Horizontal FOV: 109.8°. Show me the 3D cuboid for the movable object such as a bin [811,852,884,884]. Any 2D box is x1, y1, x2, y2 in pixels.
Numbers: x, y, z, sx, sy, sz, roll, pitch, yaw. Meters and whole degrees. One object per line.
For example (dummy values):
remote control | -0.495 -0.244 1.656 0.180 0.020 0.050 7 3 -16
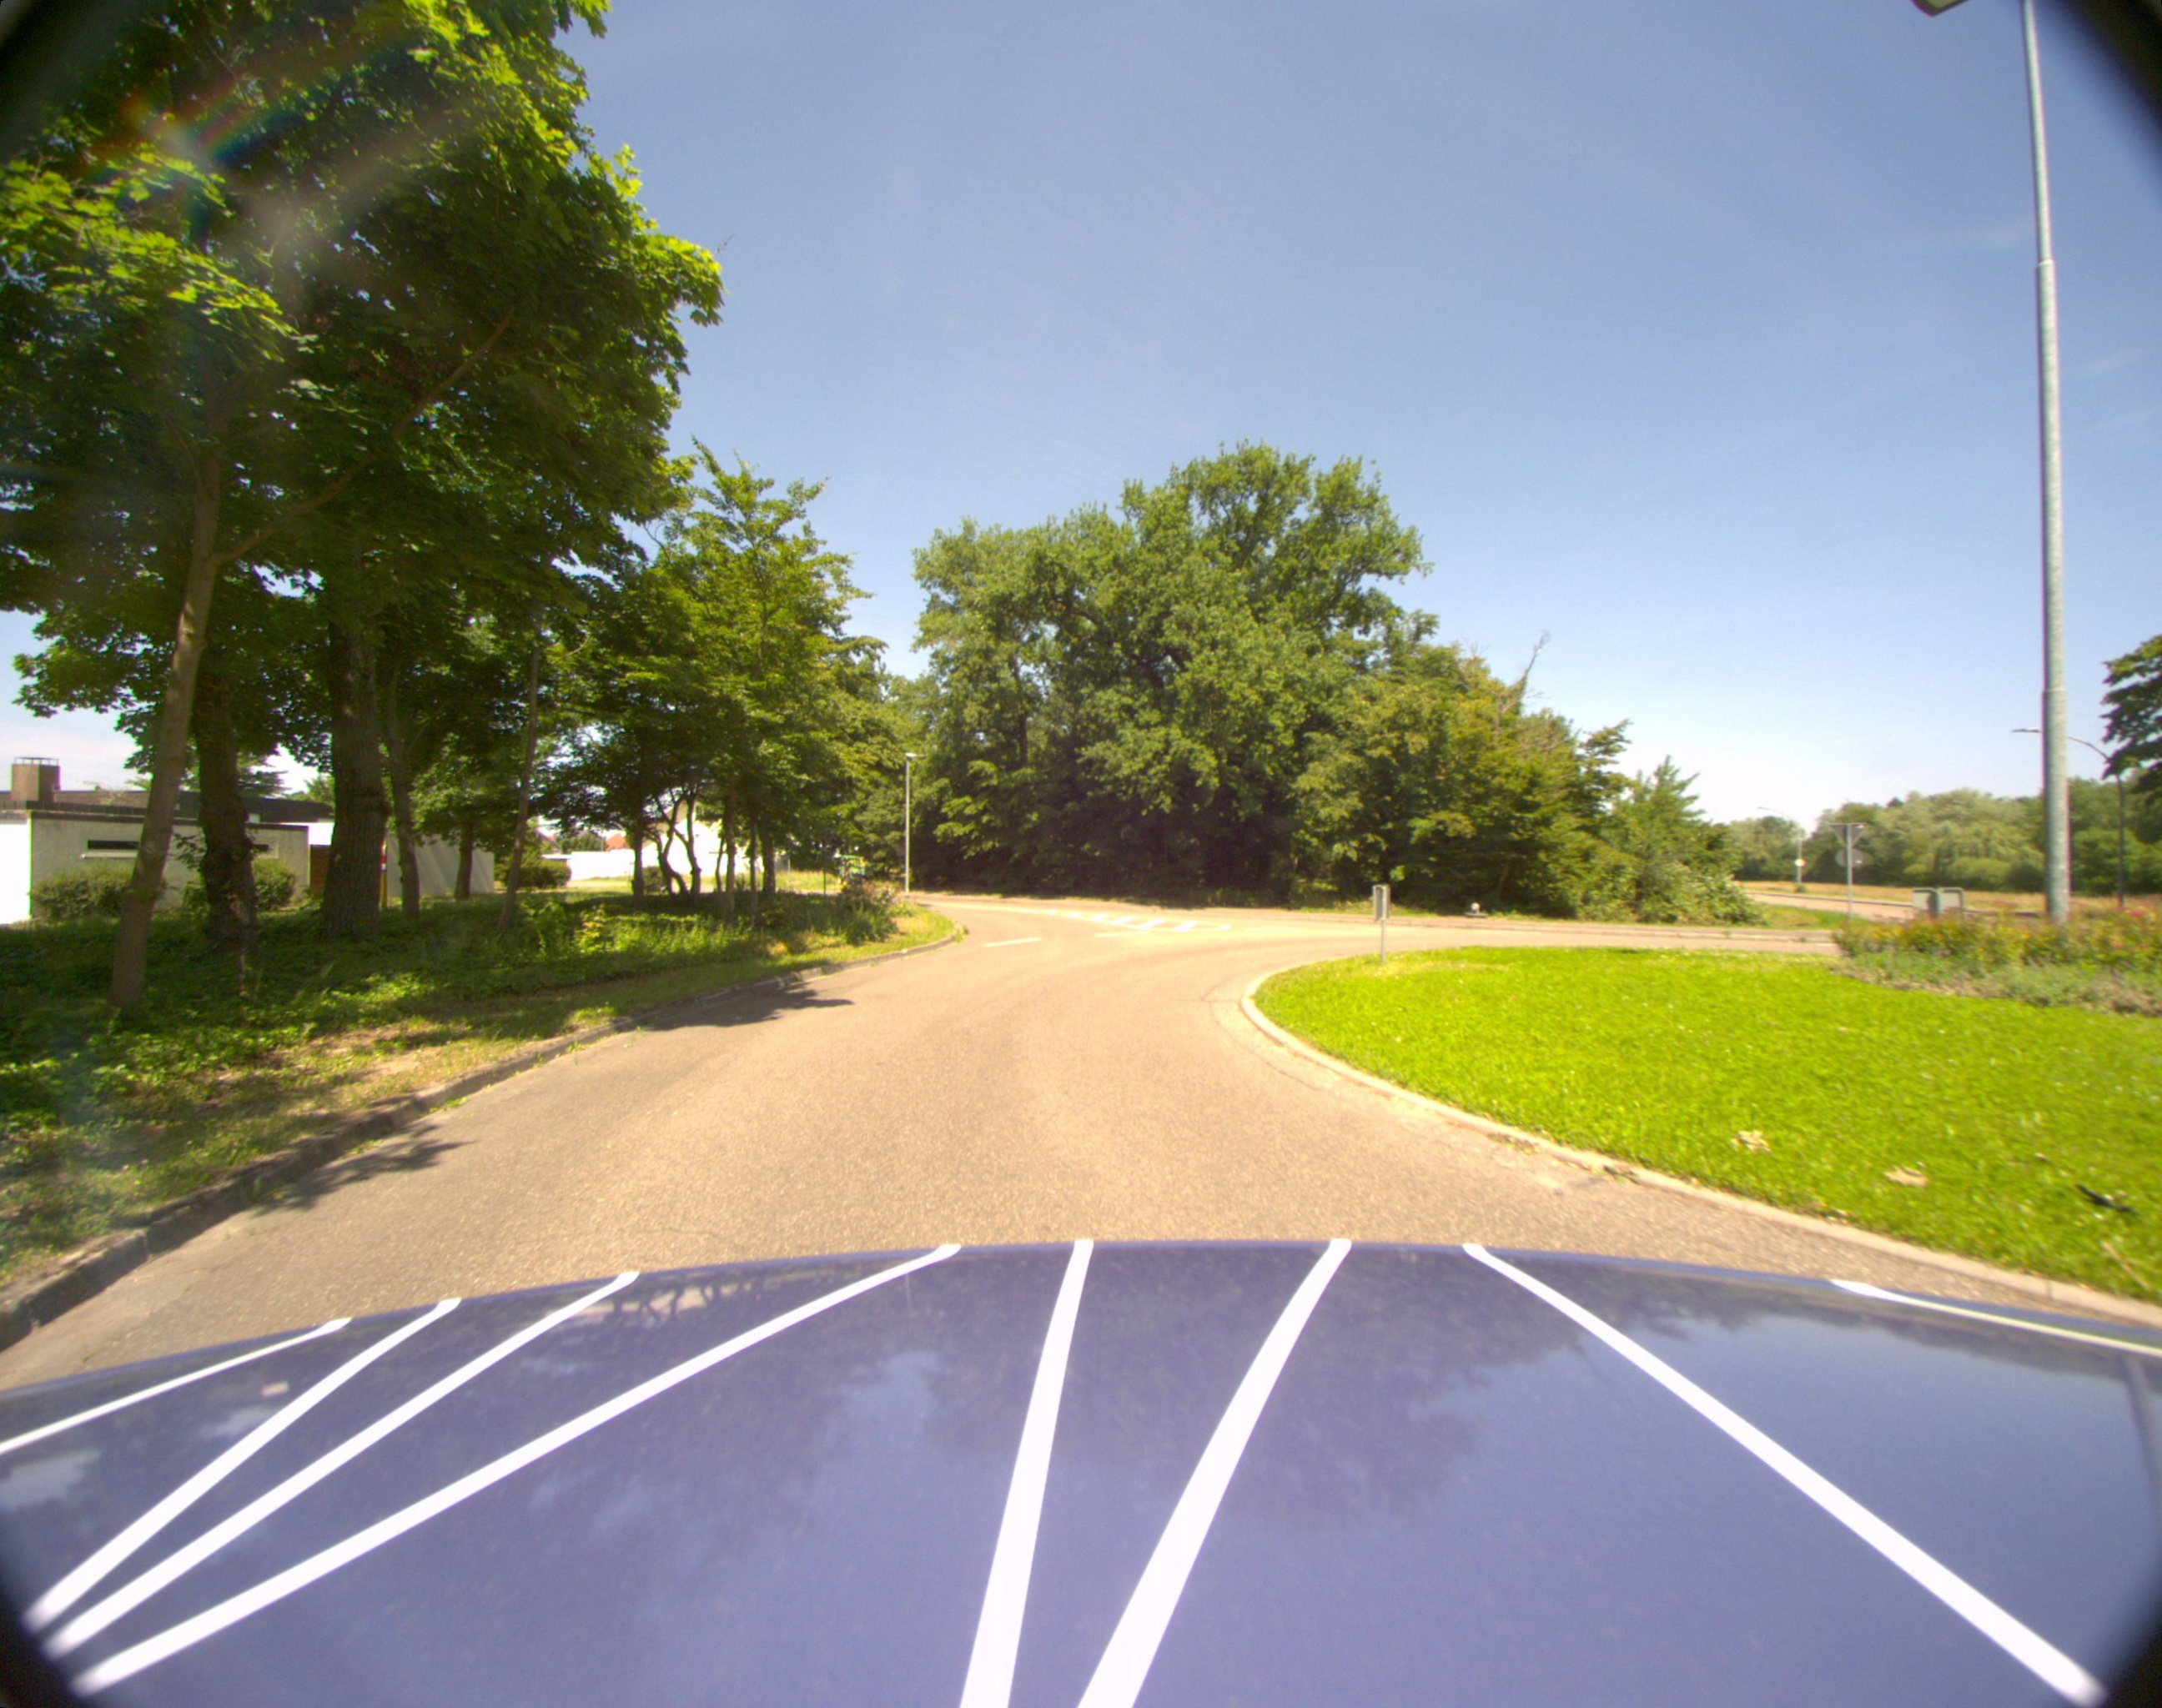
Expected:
movable object such as a bin | -17.228 1.017 55.896 5.224 2.263 2.529 0 -1 37
